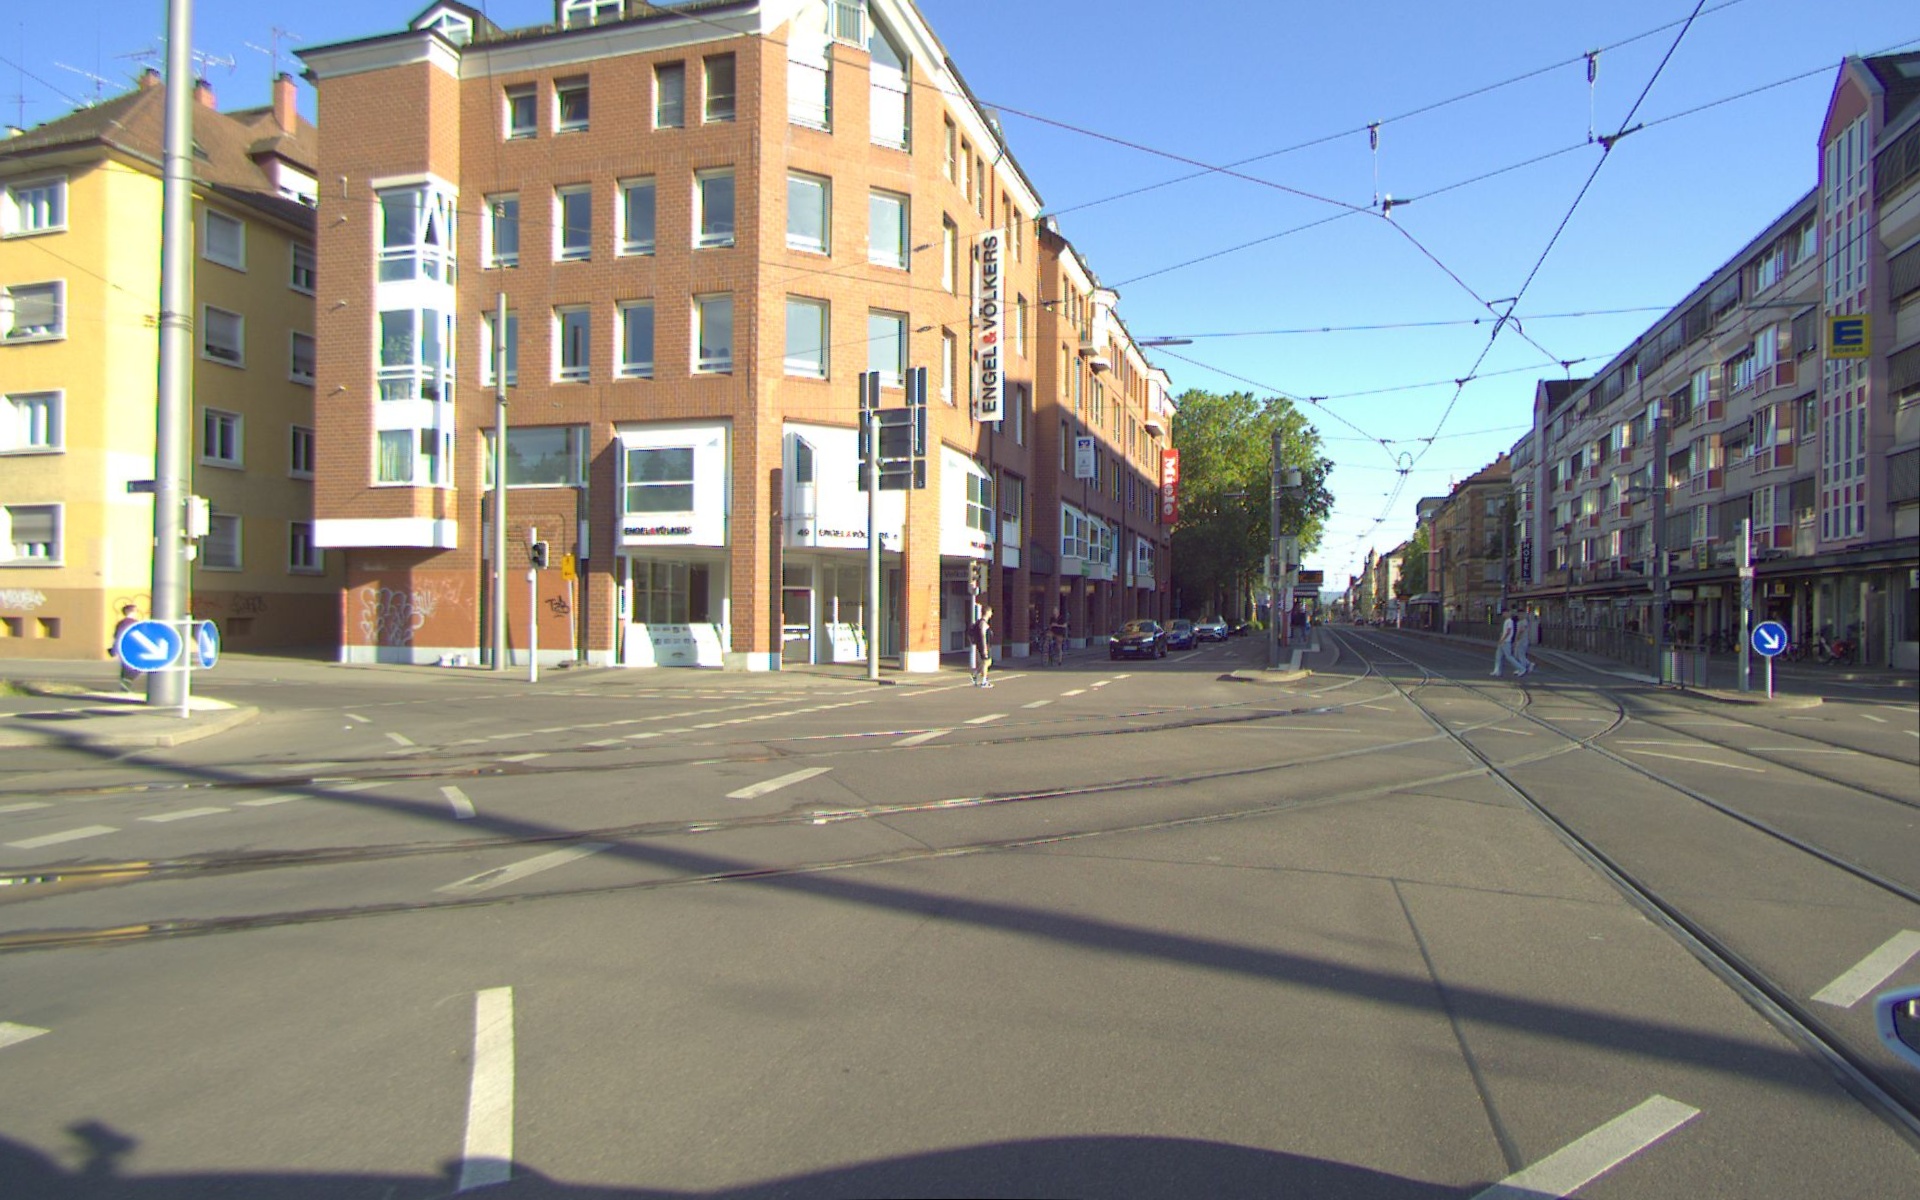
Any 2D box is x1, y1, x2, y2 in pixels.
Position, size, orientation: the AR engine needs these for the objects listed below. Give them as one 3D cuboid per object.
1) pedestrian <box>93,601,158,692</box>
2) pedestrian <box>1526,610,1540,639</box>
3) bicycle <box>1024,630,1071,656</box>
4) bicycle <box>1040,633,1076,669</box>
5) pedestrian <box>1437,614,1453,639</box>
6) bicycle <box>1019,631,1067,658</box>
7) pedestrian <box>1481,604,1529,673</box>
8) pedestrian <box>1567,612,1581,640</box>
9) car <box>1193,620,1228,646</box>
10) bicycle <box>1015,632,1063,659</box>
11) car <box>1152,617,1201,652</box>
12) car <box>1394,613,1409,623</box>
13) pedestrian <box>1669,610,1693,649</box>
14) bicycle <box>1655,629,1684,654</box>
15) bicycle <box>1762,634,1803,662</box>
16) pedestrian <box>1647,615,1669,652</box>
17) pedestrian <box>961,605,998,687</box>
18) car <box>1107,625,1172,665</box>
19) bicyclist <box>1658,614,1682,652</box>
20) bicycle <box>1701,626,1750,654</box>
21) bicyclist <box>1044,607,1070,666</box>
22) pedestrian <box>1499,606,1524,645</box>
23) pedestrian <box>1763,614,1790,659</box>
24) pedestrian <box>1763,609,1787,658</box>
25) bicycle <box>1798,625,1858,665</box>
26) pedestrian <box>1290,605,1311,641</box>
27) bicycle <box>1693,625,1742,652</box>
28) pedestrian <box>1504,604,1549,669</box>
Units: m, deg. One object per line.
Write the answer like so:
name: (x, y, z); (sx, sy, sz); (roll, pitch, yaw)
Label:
pedestrian: (-15.296, 0.839, 18.418); (0.598, 1.610, 0.785); (1, 1, 36)
pedestrian: (42.324, 1.798, 74.179); (0.825, 2.041, 0.777); (1, 1, 24)
bicycle: (3.560, 1.741, 40.773); (1.800, 0.974, 0.544); (1, 1, 18)
bicycle: (3.261, 1.666, 33.334); (0.623, 1.063, 1.835); (1, 1, 25)
pedestrian: (33.424, 1.836, 69.207); (0.765, 1.682, 0.684); (0, 1, 9)
bicycle: (3.300, 1.755, 39.827); (1.800, 0.974, 0.544); (1, 1, 18)
pedestrian: (14.349, 1.013, 26.466); (0.986, 1.788, 0.510); (0, 1, -5)
pedestrian: (45.227, 1.901, 73.972); (0.760, 2.040, 0.504); (-1, 1, 23)
car: (15.968, 2.063, 63.808); (1.716, 1.444, 3.936); (1, 1, 21)
bicycle: (3.066, 1.769, 39.031); (1.800, 0.974, 0.544); (0, 1, 18)
car: (10.482, 1.625, 48.477); (1.716, 1.444, 3.936); (1, 1, 21)
car: (71.972, 2.950, 163.790); (1.961, 1.573, 3.999); (1, 1, 21)
pedestrian: (34.551, 1.410, 48.127); (0.809, 1.802, 0.676); (1, 2, 45)
bicycle: (29.389, 1.725, 41.647); (0.617, 0.942, 1.909); (-3, -1, 25)
bicycle: (29.802, 1.730, 36.432); (0.491, 0.929, 2.078); (1, 0, 20)
pedestrian: (32.444, 1.547, 46.706); (0.739, 1.667, 0.549); (1, 1, 25)
pedestrian: (0.432, 1.010, 22.265); (0.813, 1.781, 0.696); (0, 1, 1)
car: (6.964, 1.683, 38.635); (1.716, 1.261, 3.936); (1, 1, 22)
bicyclist: (29.293, 1.352, 41.458); (0.617, 1.553, 0.801); (-3, -1, 25)
bicycle: (33.254, 1.730, 43.631); (1.616, 1.134, 0.484); (0, 1, 15)
bicyclist: (3.247, 1.201, 33.468); (0.623, 1.904, 0.810); (1, 1, 25)
pedestrian: (24.244, 1.097, 44.148); (0.765, 1.682, 0.684); (0, 1, 9)
pedestrian: (30.816, 1.373, 37.914); (0.596, 1.657, 0.606); (0, 1, -29)
pedestrian: (32.273, 1.313, 39.777); (0.599, 1.877, 0.603); (1, 1, 25)
bicycle: (28.925, 1.474, 33.525); (0.715, 1.243, 2.332); (1, 0, 20)
pedestrian: (15.228, 1.026, 44.960); (0.678, 1.599, 0.621); (0, 1, -6)
bicycle: (33.864, 1.712, 44.923); (1.616, 1.134, 0.566); (0, 1, 15)
pedestrian: (15.338, 0.977, 27.213); (0.853, 1.717, 0.621); (0, 1, -17)
